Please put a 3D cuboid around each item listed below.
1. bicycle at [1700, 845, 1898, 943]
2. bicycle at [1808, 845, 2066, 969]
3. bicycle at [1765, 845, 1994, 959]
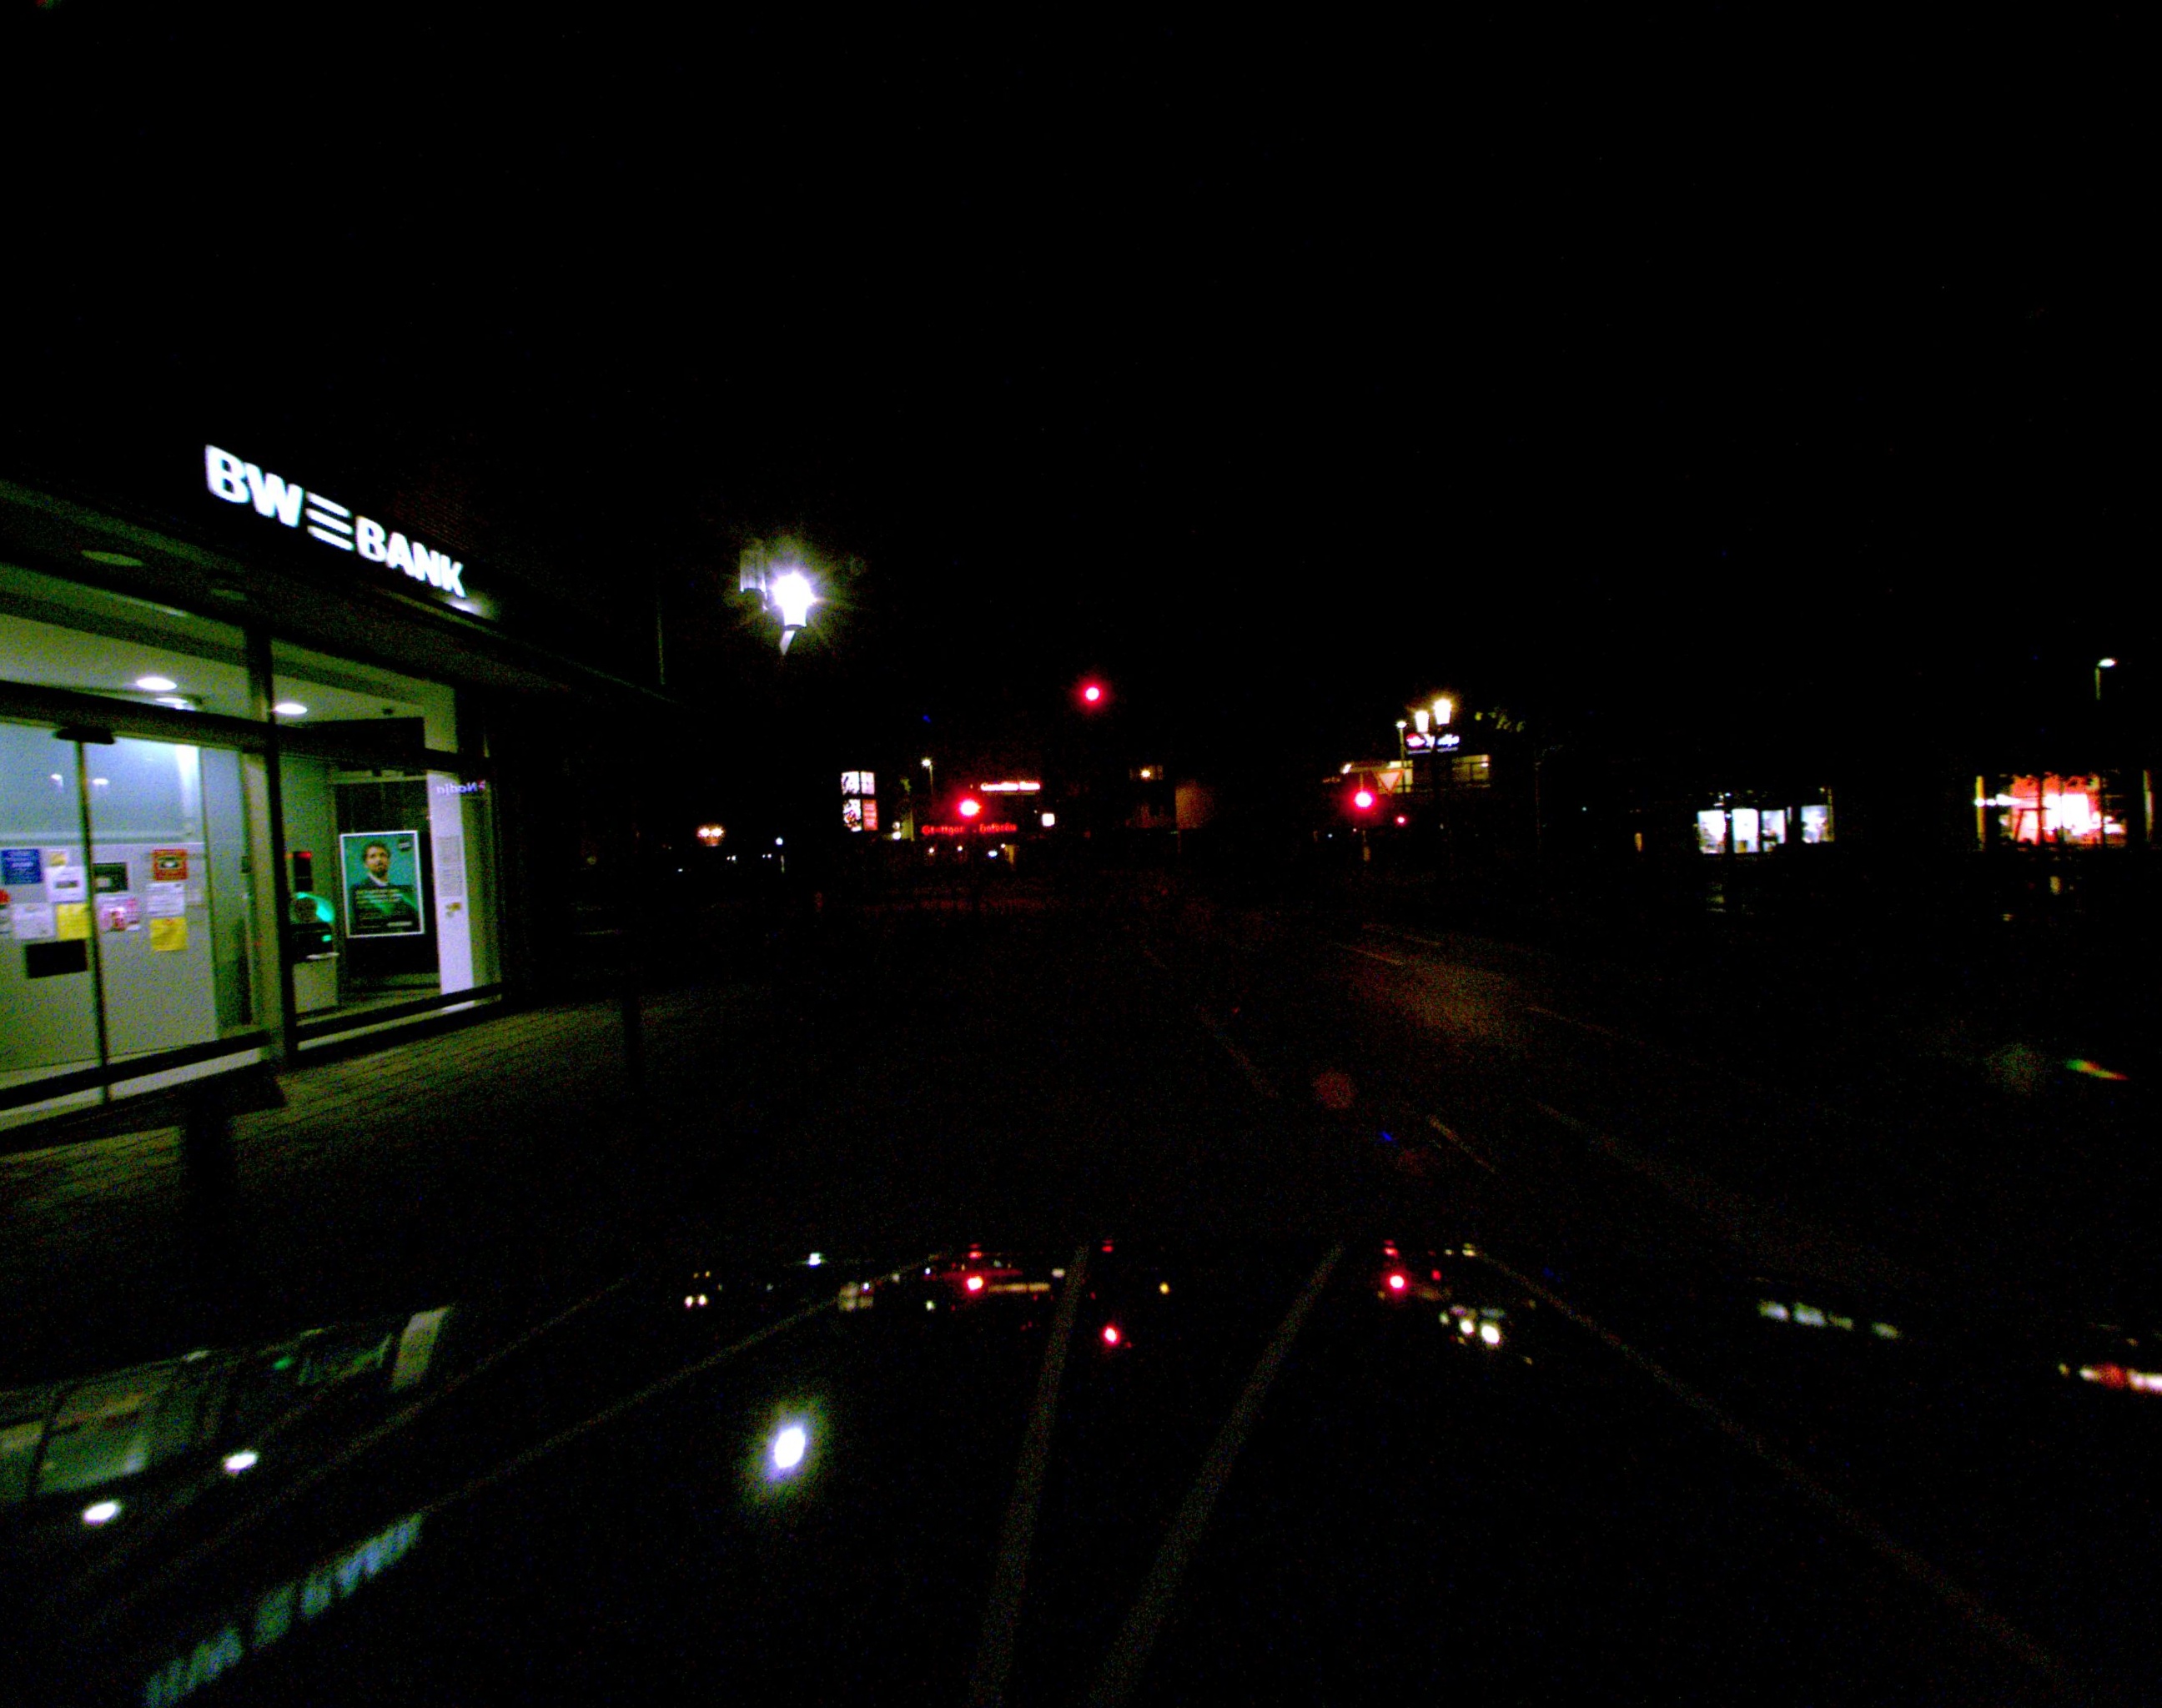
[{"bbox_3d":[9.784,0.532,10.421,1.838,1.151,0.787,-5,1,5],"label":"bicycle"},{"bbox_3d":[9.191,0.552,8.232,1.738,1.159,0.787,-5,0,5],"label":"bicycle"},{"bbox_3d":[9.400,0.545,9.009,1.738,1.151,0.787,-5,1,5],"label":"bicycle"}]
